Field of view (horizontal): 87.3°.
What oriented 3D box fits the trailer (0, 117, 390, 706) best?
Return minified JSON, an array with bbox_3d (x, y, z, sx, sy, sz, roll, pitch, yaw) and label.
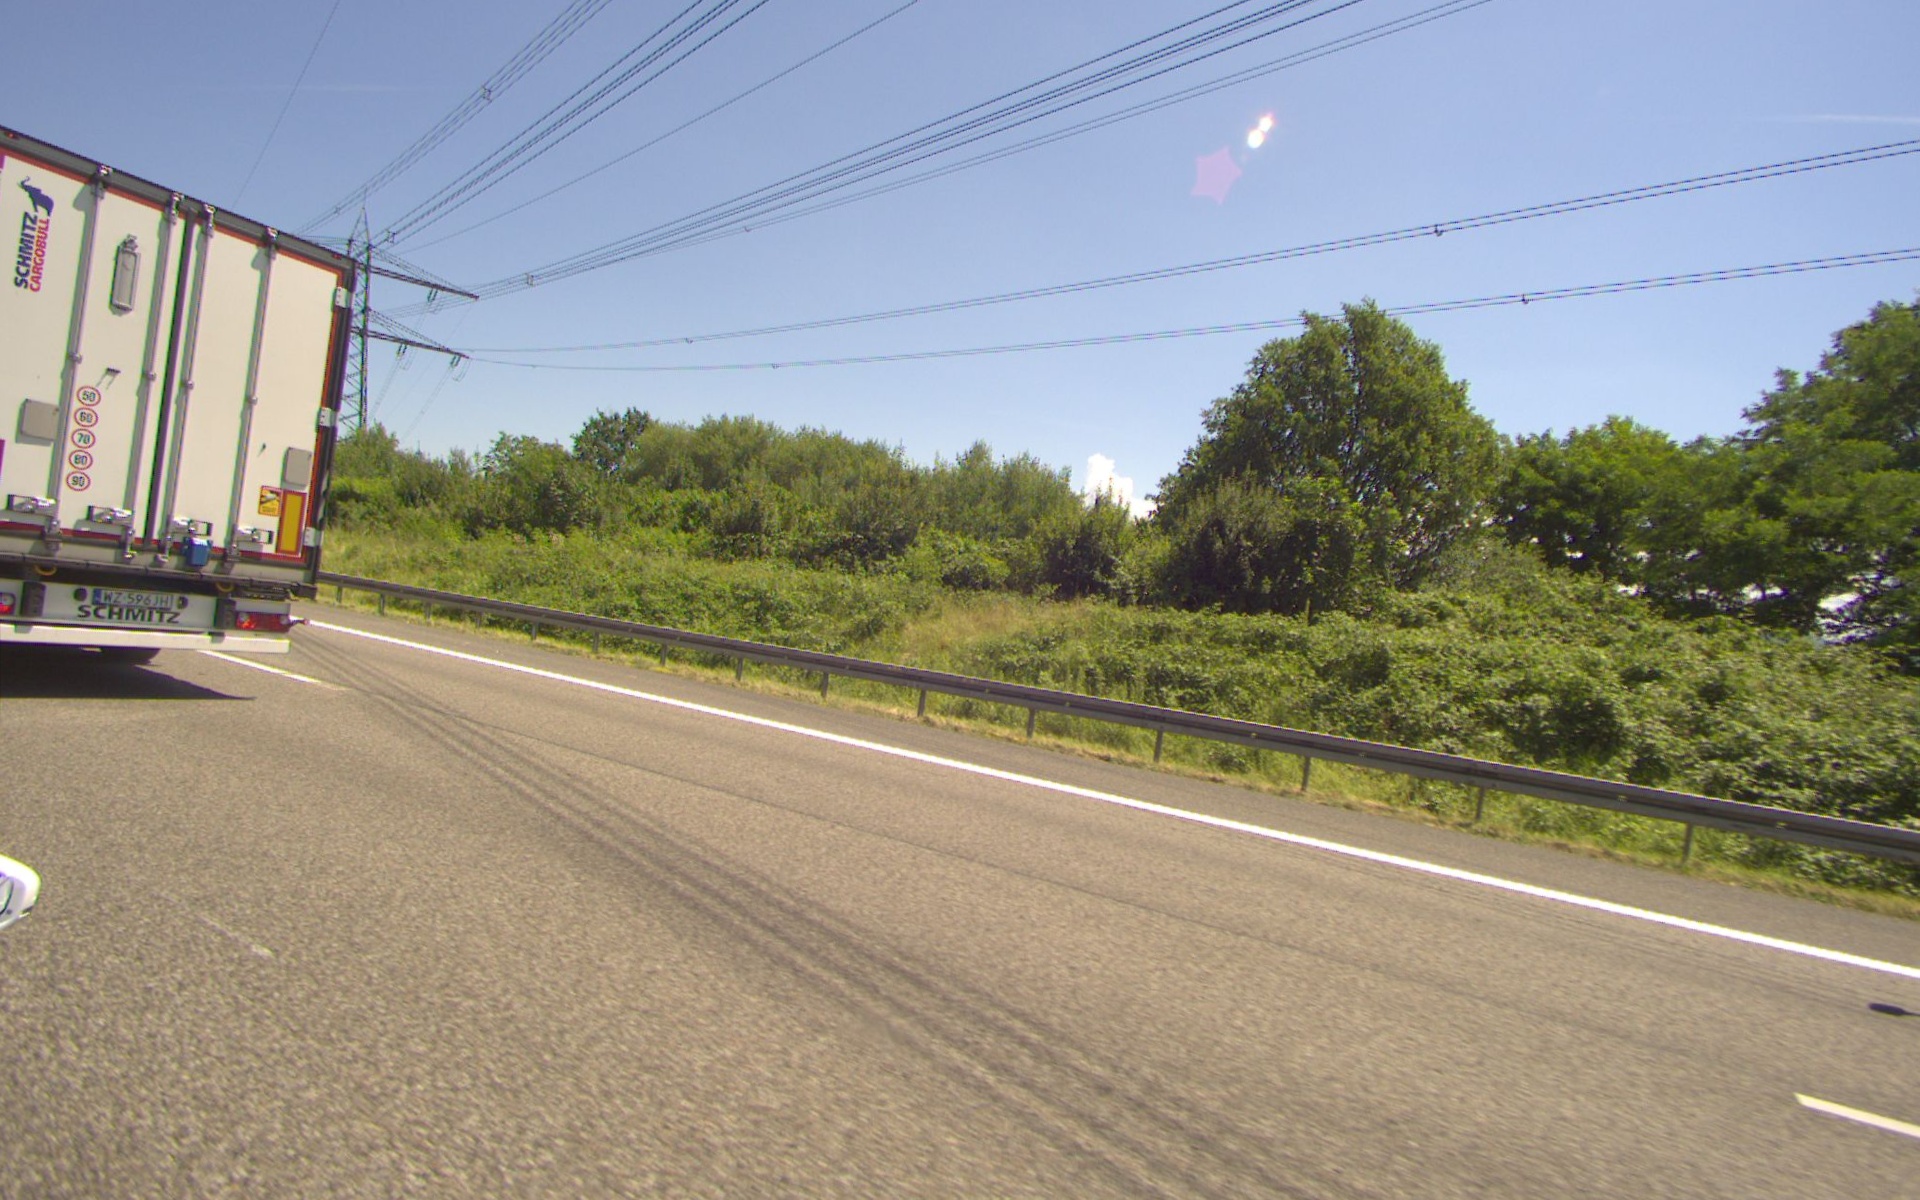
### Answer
[{"bbox_3d":[-12.976,-1.932,12.195,15.932,4.064,2.943,6,-2,32],"label":"trailer"}]
